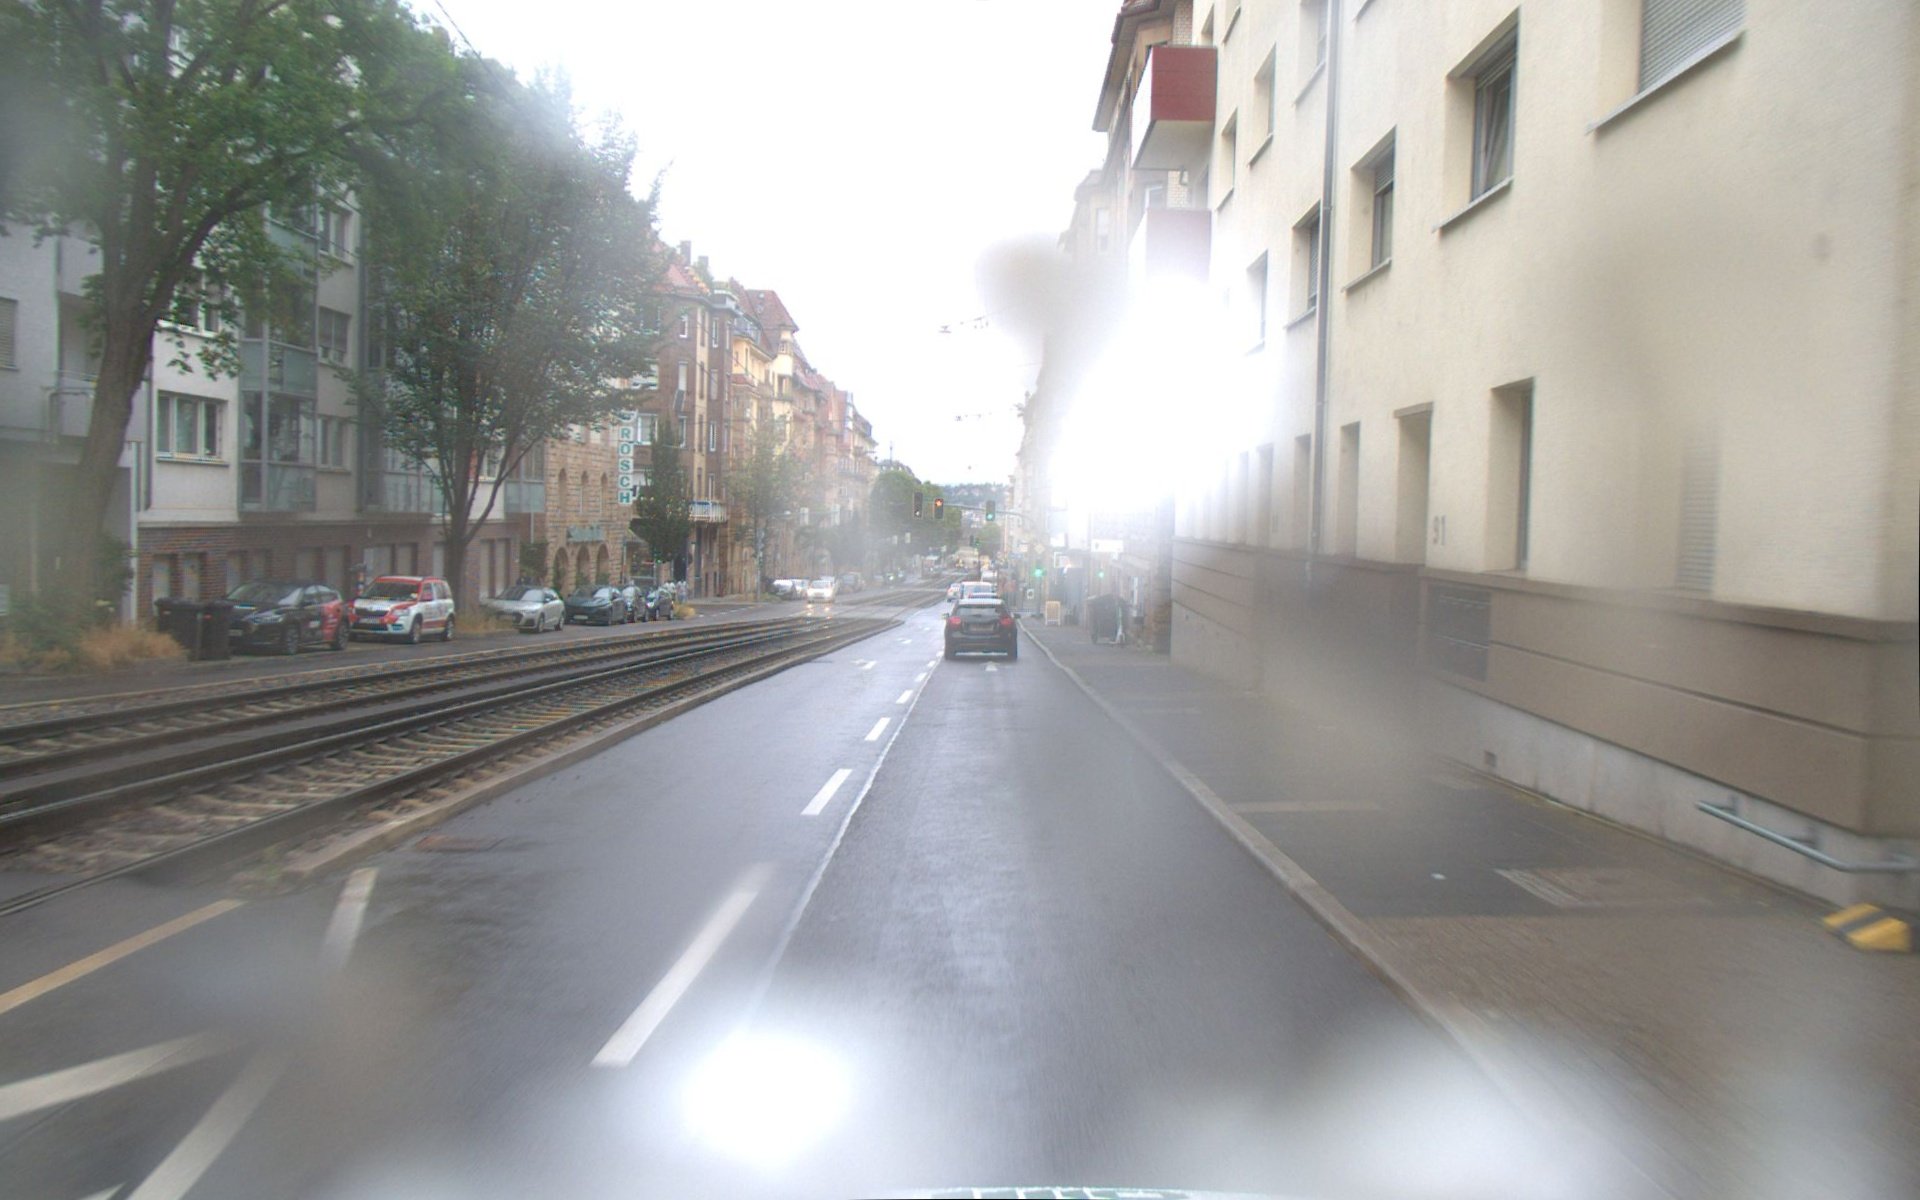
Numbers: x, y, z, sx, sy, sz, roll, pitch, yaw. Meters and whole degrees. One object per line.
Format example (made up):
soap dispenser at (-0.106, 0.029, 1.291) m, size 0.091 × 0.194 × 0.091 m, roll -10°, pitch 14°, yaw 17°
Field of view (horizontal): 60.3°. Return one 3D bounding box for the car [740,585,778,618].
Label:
car at (-12.989, 0.127, 107.201) m, size 1.953 × 2.049 × 4.345 m, roll 0°, pitch -1°, yaw -1°

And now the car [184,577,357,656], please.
car at (-13.919, 0.332, 33.652) m, size 1.737 × 1.479 × 4.255 m, roll -1°, pitch 0°, yaw 0°

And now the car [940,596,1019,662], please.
car at (0.436, 0.677, 40.605) m, size 1.814 × 1.499 × 3.999 m, roll 1°, pitch 0°, yaw -1°

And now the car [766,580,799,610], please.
car at (-12.557, -0.321, 117.234) m, size 1.953 × 2.049 × 4.345 m, roll 0°, pitch -1°, yaw -1°

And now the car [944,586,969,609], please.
car at (-0.314, -0.223, 134.040) m, size 1.909 × 1.824 × 4.143 m, roll 1°, pitch 0°, yaw -1°

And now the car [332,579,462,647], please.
car at (-13.842, 0.307, 40.899) m, size 1.737 × 1.573 × 4.255 m, roll -1°, pitch 0°, yaw 0°

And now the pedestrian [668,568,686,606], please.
pedestrian at (-15.112, -0.689, 88.407) m, size 0.854 × 2.049 × 0.704 m, roll 0°, pitch -1°, yaw -1°

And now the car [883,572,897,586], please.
car at (-10.101, -3.039, 238.167) m, size 1.953 × 2.049 × 3.999 m, roll 1°, pitch 0°, yaw -1°

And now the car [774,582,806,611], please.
car at (-12.529, -0.252, 122.278) m, size 1.953 × 2.049 × 4.345 m, roll 0°, pitch -1°, yaw -1°

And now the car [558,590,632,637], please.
car at (-13.423, 0.465, 61.021) m, size 1.736 × 1.648 × 4.255 m, roll -1°, pitch 0°, yaw 1°

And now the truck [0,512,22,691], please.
truck at (-14.178, -0.014, 19.735) m, size 2.008 × 2.435 × 6.323 m, roll 1°, pitch 0°, yaw 3°

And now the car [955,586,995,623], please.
car at (0.735, 0.249, 85.657) m, size 1.909 × 1.824 × 4.143 m, roll 2°, pitch -1°, yaw -1°

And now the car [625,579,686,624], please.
car at (-13.112, 0.053, 71.403) m, size 1.824 × 1.847 × 4.000 m, roll 1°, pitch 0°, yaw 1°

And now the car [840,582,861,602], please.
car at (-11.593, -0.867, 175.179) m, size 1.953 × 2.049 × 3.999 m, roll 0°, pitch -1°, yaw -1°

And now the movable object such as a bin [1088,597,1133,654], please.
movable object such as a bin at (4.475, 0.749, 49.317) m, size 1.144 × 1.684 × 1.308 m, roll 0°, pitch 0°, yaw -3°

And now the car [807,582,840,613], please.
car at (-9.400, -0.162, 114.002) m, size 1.953 × 2.049 × 4.346 m, roll 1°, pitch 0°, yaw -1°

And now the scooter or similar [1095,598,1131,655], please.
scooter or similar at (4.406, 0.758, 47.808) m, size 0.900 × 1.632 × 0.862 m, roll 1°, pitch 0°, yaw -4°

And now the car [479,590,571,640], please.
car at (-13.706, 0.473, 52.335) m, size 1.736 × 1.514 × 4.255 m, roll -1°, pitch 0°, yaw 1°

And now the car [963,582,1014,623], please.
car at (1.097, 0.113, 65.766) m, size 1.814 × 1.499 × 3.999 m, roll 2°, pitch -1°, yaw -1°
